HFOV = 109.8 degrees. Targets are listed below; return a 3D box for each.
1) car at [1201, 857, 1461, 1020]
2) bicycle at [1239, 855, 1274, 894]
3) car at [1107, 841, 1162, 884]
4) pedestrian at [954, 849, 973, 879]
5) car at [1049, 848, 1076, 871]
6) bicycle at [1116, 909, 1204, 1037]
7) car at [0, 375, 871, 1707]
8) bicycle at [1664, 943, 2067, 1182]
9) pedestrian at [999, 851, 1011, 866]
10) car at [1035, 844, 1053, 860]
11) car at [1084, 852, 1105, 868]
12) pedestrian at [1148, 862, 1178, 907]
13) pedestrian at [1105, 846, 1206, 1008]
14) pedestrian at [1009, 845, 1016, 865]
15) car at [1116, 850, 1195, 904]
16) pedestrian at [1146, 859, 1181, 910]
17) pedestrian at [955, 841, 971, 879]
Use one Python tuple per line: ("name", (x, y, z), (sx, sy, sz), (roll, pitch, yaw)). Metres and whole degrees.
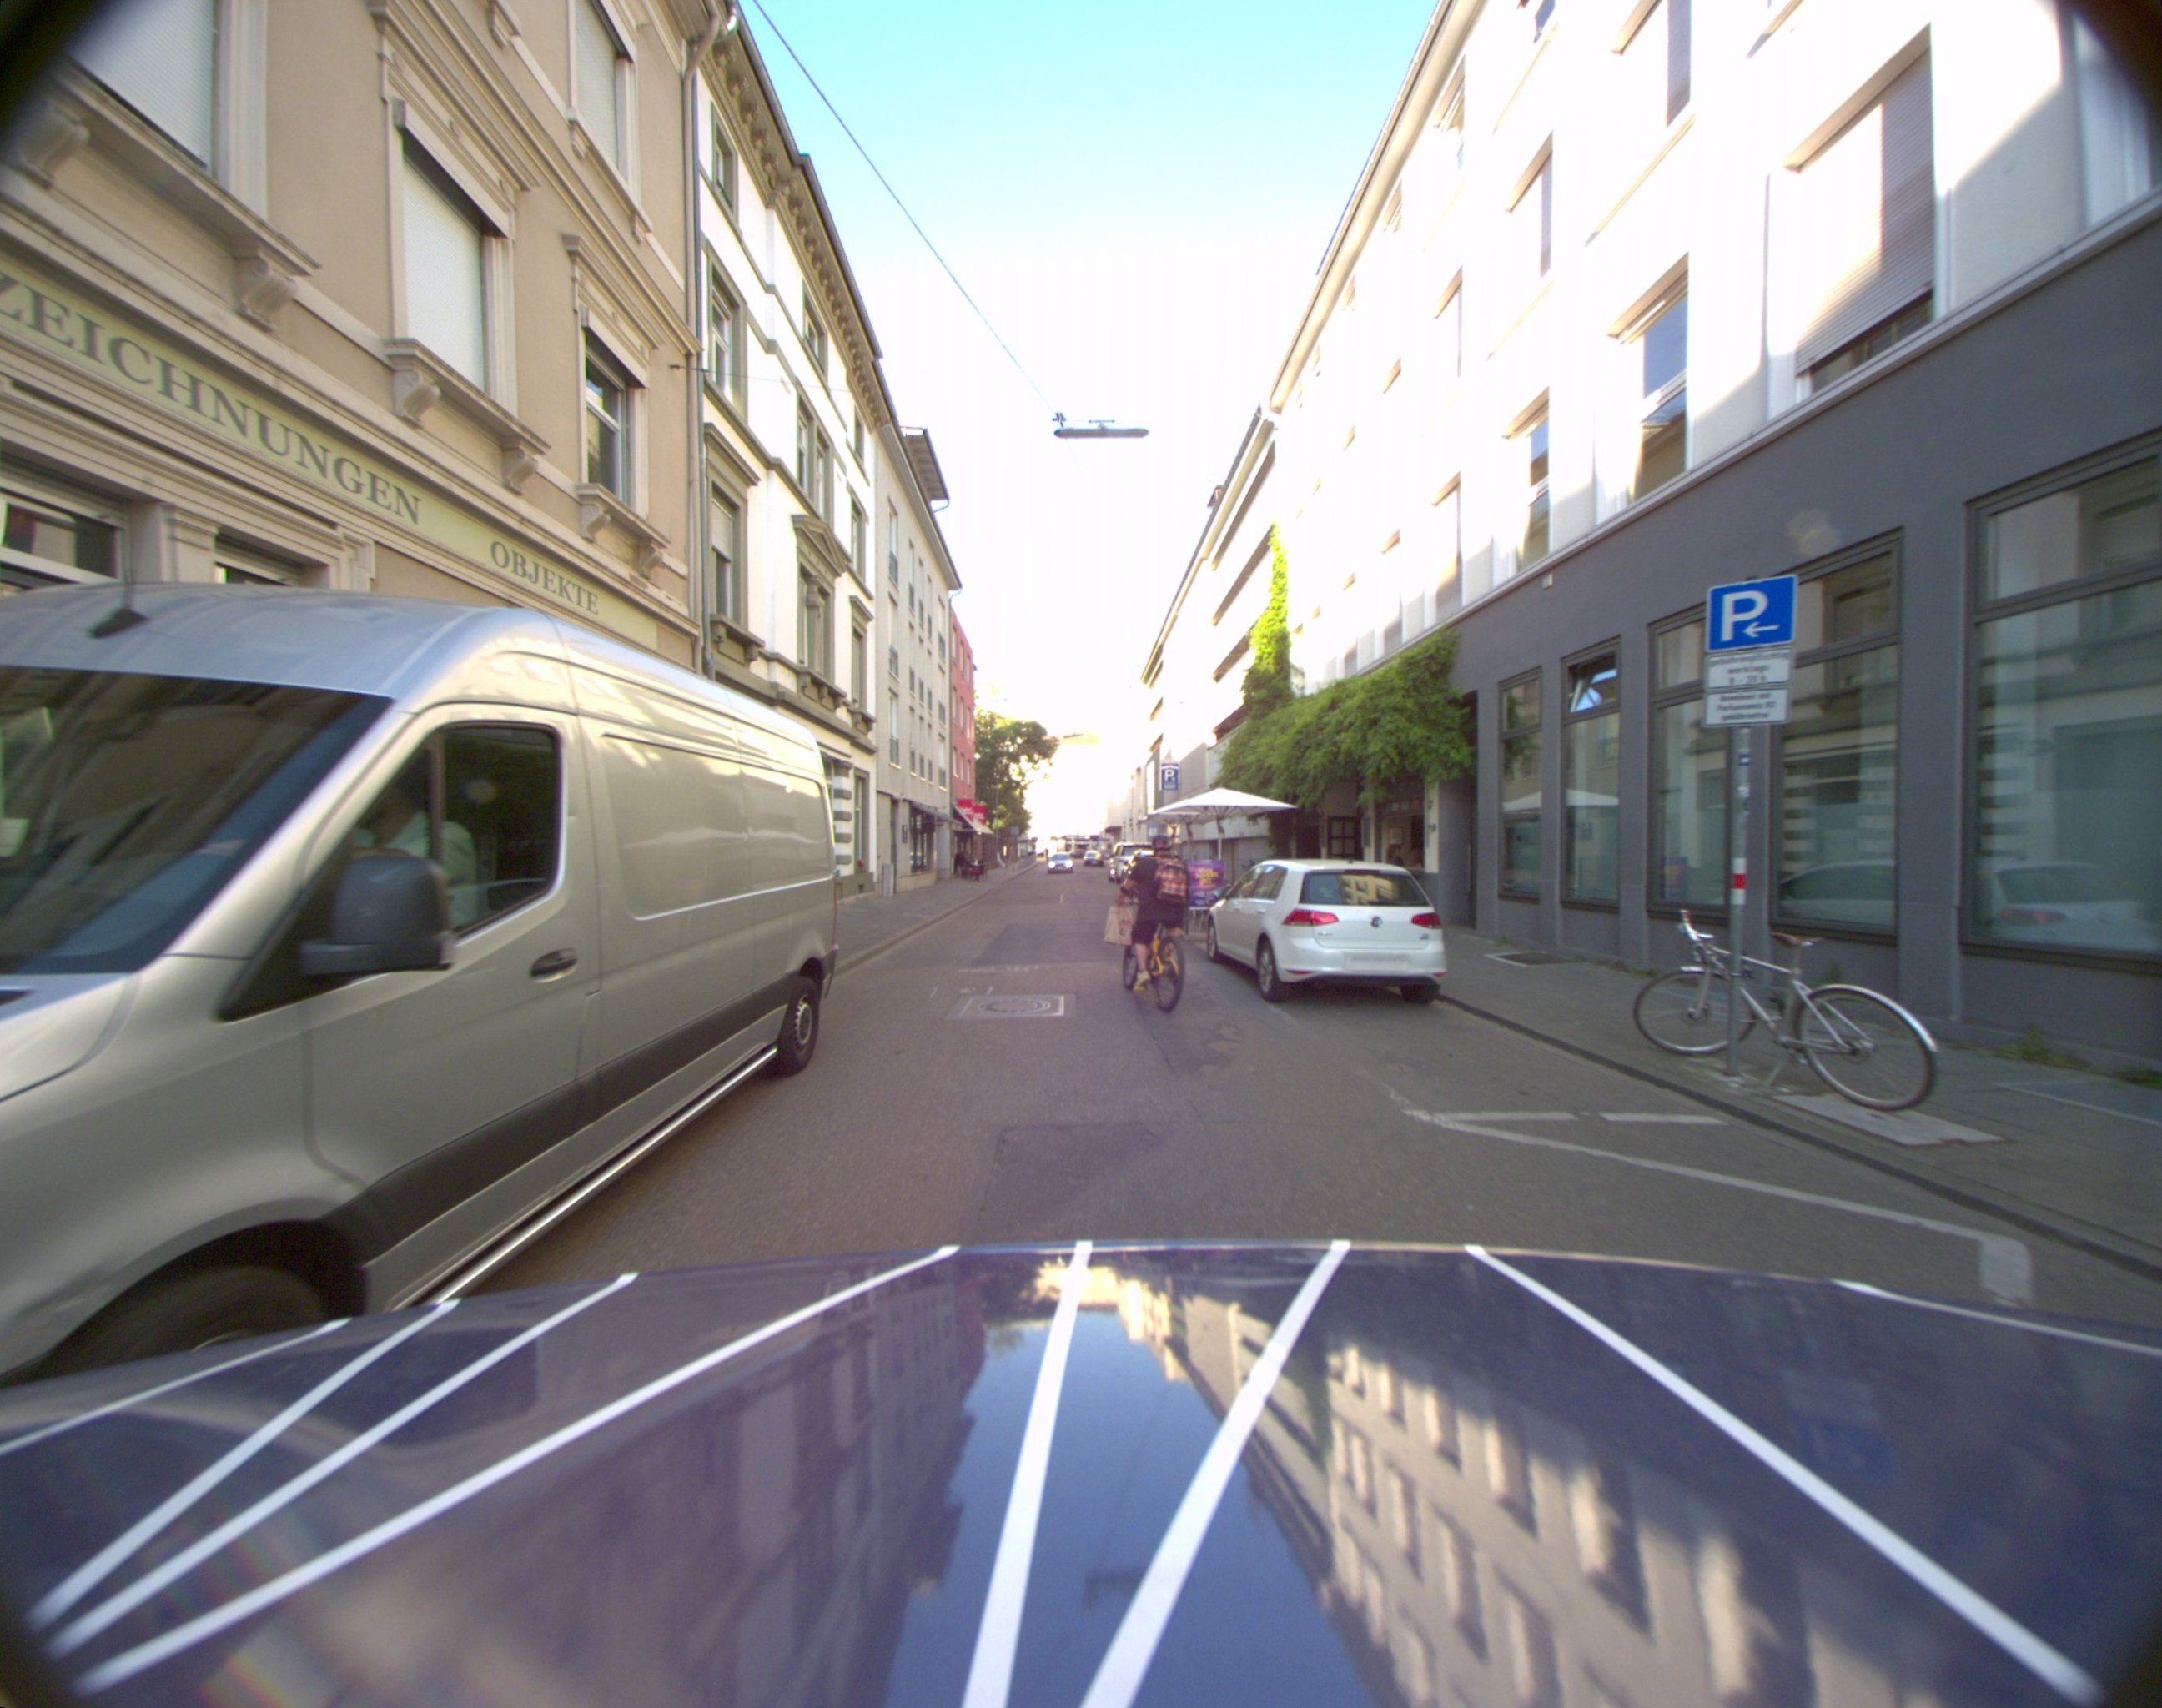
("car", (2.597, 0.780, 8.903), (1.662, 1.406, 3.881), (0, 1, -2))
("bicycle", (5.410, 0.606, 23.537), (0.644, 1.153, 1.794), (-1, 1, 0))
("car", (2.526, 0.374, 37.029), (1.999, 1.929, 4.848), (1, 1, -3))
("pedestrian", (-5.782, 0.502, 37.469), (0.827, 1.477, 0.661), (0, 1, -2))
("car", (-1.304, 0.343, 53.449), (1.789, 1.516, 3.999), (-2, 1, -1))
("bicycle", (0.770, 1.154, 7.930), (0.539, 1.002, 1.980), (-1, 1, -5))
("car", (-2.972, 0.384, 3.440), (2.283, 2.425, 6.202), (0, 1, 0))
("bicycle", (4.271, 1.064, 4.348), (0.598, 0.900, 1.643), (-1, 1, 0))
("pedestrian", (-6.450, 0.417, 64.581), (0.928, 1.242, 0.362), (1, 1, -4))
("car", (-4.514, -0.264, 93.310), (1.998, 2.002, 4.000), (0, 1, 1))
("car", (1.376, 0.537, 74.640), (1.998, 1.409, 4.558), (1, 1, 2))
("pedestrian", (2.221, 0.815, 20.595), (0.552, 1.159, 0.743), (0, 1, 31))
("pedestrian", (0.737, 0.692, 7.795), (0.831, 1.536, 1.082), (-1, 1, -5))
("pedestrian", (-5.854, 0.080, 64.753), (0.438, 1.637, 0.557), (1, 1, 6))
("car", (2.392, 0.692, 25.615), (1.886, 1.559, 4.769), (2, 0, -3))
("pedestrian", (2.122, 0.768, 19.604), (0.783, 1.279, 0.915), (0, 1, -1))
("pedestrian", (-5.762, 0.281, 37.138), (0.660, 1.782, 0.729), (3, 1, -12))
